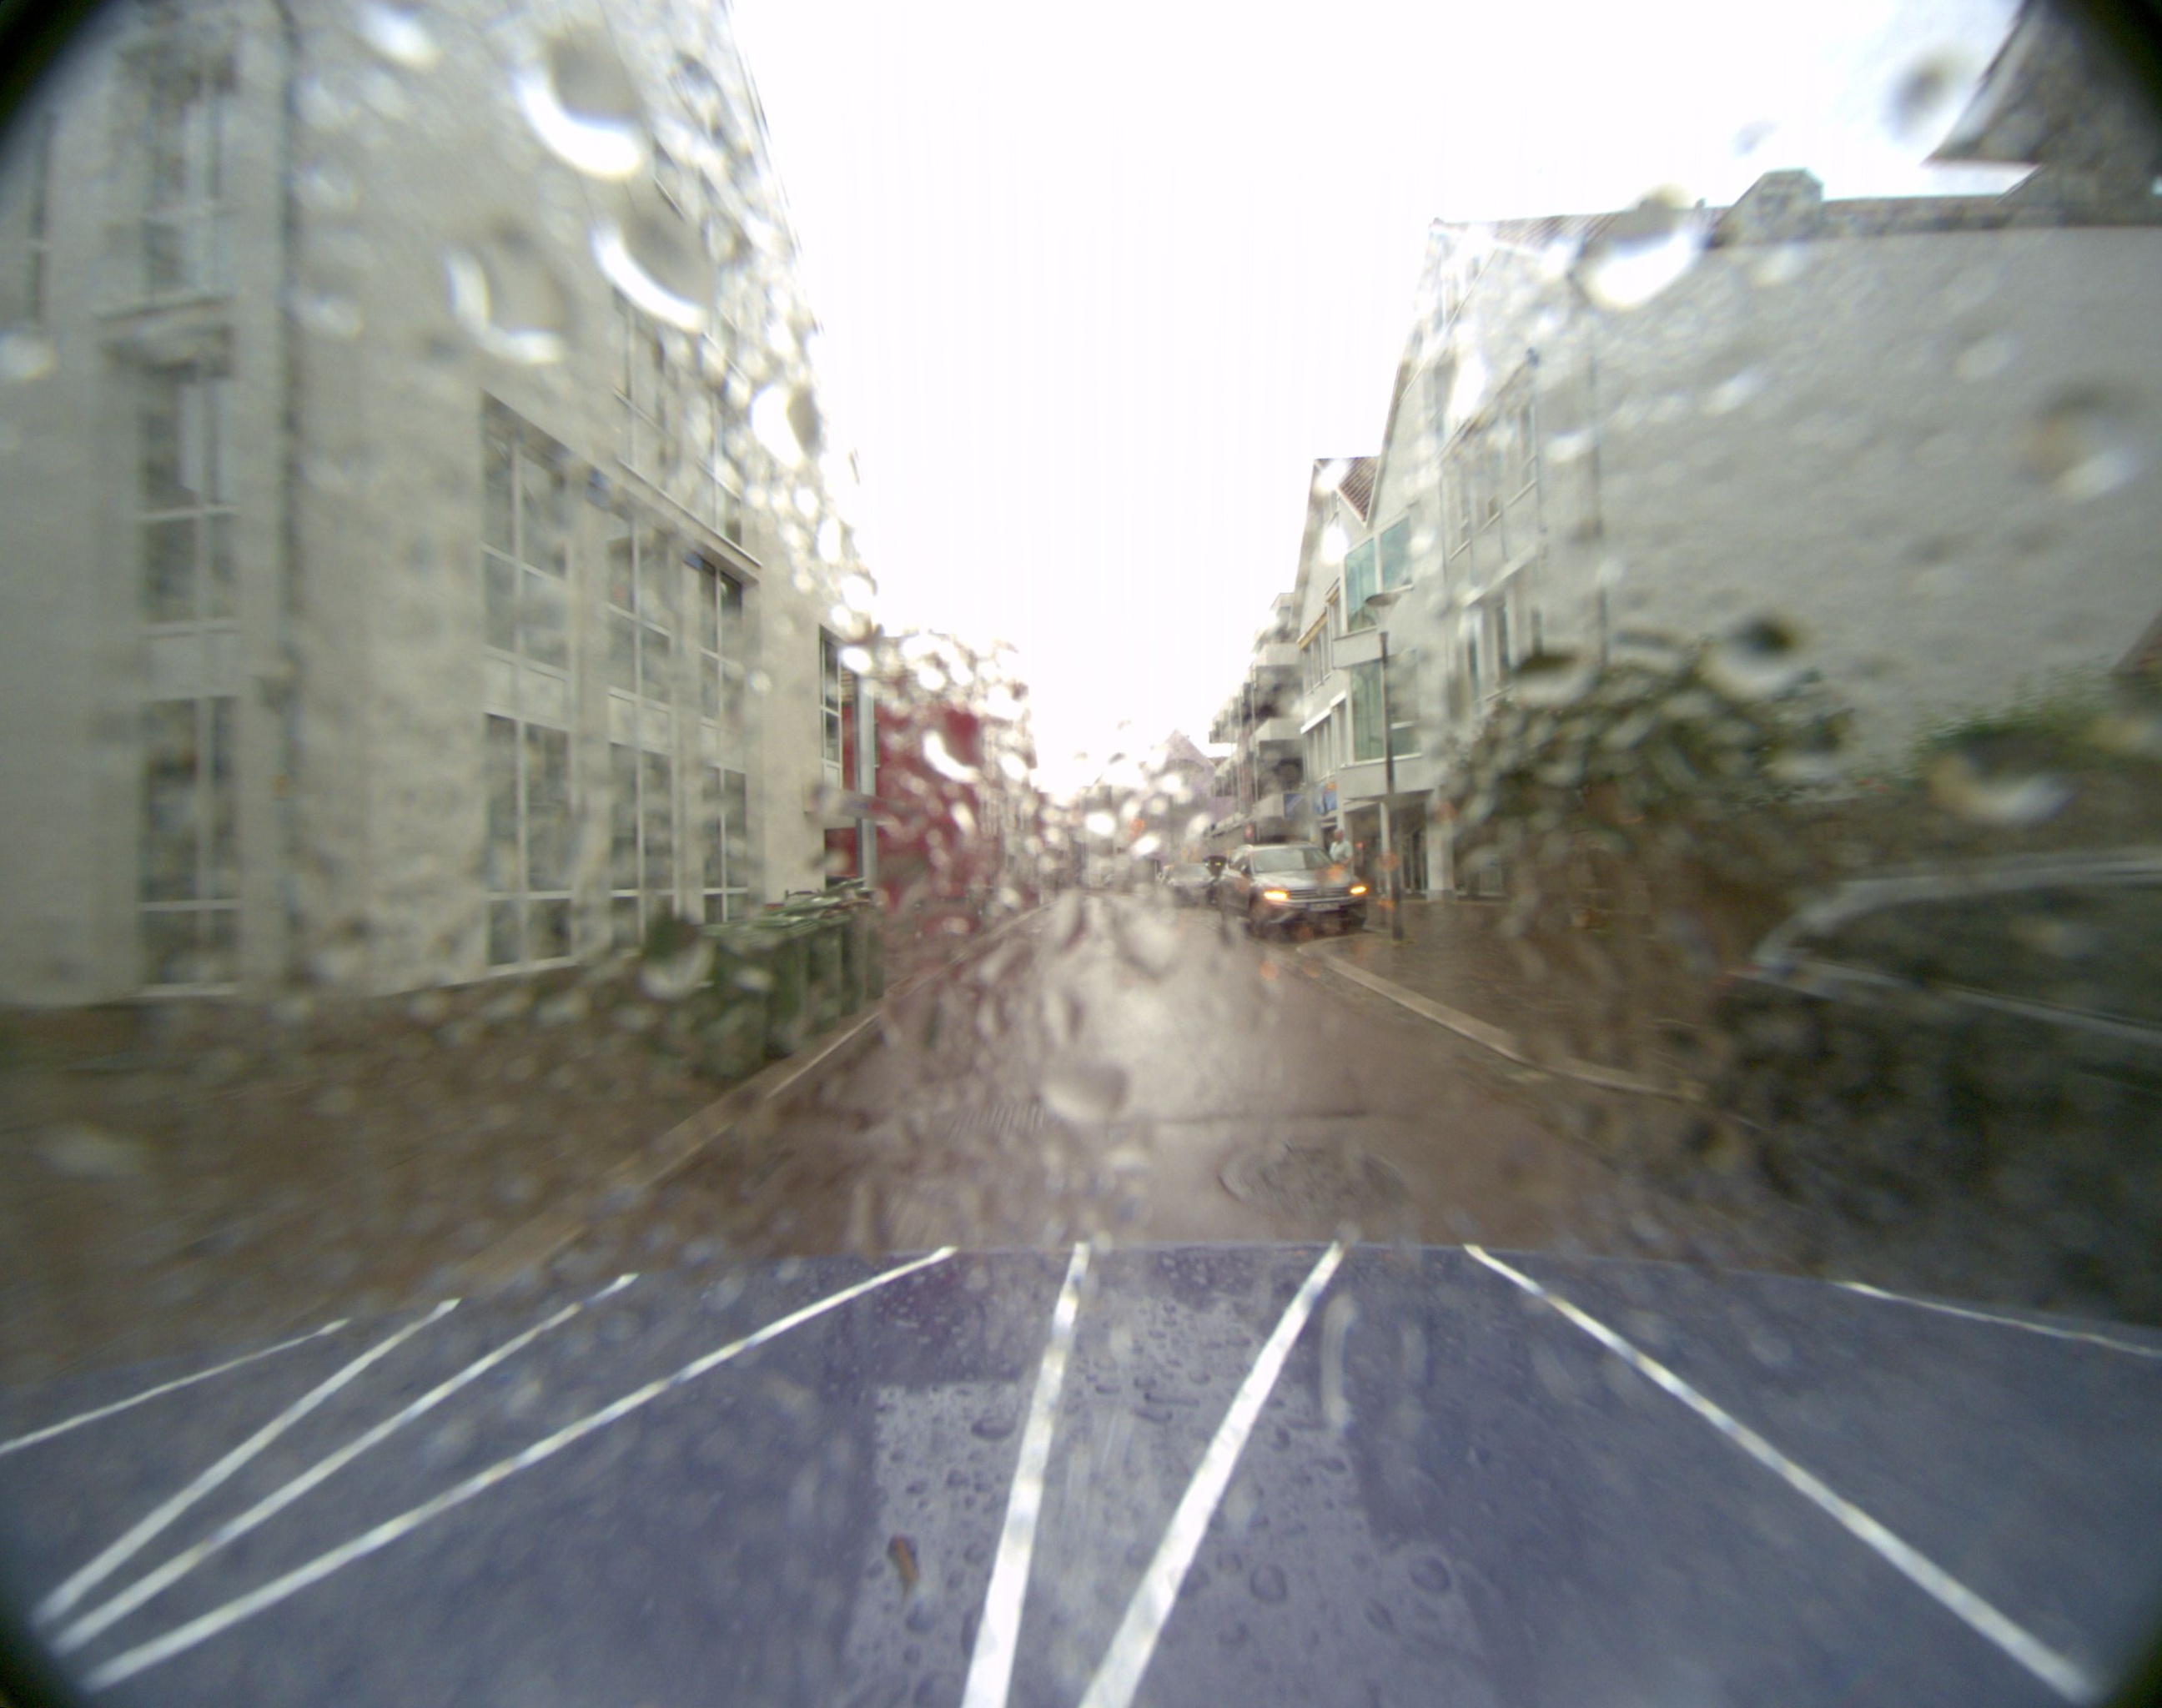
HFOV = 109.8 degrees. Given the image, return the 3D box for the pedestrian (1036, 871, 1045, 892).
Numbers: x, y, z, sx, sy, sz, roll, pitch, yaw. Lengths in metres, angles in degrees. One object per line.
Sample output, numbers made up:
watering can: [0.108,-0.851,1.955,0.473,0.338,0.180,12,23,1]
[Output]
pedestrian: [-3.814,2.579,71.551,0.656,1.891,0.658,0,-1,-25]

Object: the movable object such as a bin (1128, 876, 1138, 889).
movable object such as a bin: [4.355,2.423,64.012,0.688,1.067,0.669,-2,-1,-8]

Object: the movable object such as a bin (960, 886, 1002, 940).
movable object such as a bin: [-2.288,1.338,17.405,0.806,1.124,0.862,-2,1,0]

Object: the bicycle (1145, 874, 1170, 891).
bicycle: [5.708,2.086,56.465,1.753,1.157,0.443,-2,1,-18]

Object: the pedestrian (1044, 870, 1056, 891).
pedestrian: [-2.935,2.509,71.512,0.775,1.893,0.804,-3,1,-25]

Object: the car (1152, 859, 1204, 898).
car: [4.266,1.123,34.062,1.796,1.541,4.002,-3,-2,1]

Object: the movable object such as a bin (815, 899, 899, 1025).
movable object such as a bin: [-2.466,1.175,8.421,0.639,1.283,0.632,-2,1,6]

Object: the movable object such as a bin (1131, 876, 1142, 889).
movable object such as a bin: [4.524,2.333,62.015,0.688,1.070,0.669,-2,-1,-8]

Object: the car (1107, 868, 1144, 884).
car: [5.014,2.487,85.609,3.993,1.574,1.834,-2,0,8]

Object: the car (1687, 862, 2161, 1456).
car: [3.500,0.760,1.342,1.685,1.381,3.824,-2,0,-2]

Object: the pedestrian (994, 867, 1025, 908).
pedestrian: [-3.009,1.399,32.140,1.180,1.687,1.177,-1,-1,-2]

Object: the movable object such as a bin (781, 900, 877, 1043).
movable object such as a bin: [-2.455,1.128,7.452,0.639,1.283,0.632,-2,1,6]

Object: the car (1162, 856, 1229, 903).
car: [3.972,0.876,27.146,1.835,1.489,4.765,-1,-1,2]

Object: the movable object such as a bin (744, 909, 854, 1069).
movable object such as a bin: [-2.463,1.159,6.692,0.639,1.283,0.632,-2,1,6]

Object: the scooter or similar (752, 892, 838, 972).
scooter or similar: [-4.644,1.243,12.435,0.666,1.139,1.447,-2,0,8]

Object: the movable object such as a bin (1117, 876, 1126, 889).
movable object such as a bin: [3.677,2.573,68.751,0.688,1.071,0.677,-2,-1,-8]

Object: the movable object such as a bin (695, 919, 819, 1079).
movable object such as a bin: [-2.526,1.111,5.977,0.617,1.125,0.632,-2,1,6]

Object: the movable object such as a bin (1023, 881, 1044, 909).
movable object such as a bin: [-1.937,1.672,30.997,0.731,1.075,0.647,-2,0,3]

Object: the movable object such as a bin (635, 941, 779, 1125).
movable object such as a bin: [-2.584,1.215,5.310,0.617,1.125,0.632,-2,1,4]

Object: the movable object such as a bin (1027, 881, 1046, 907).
movable object such as a bin: [-1.891,1.693,32.386,0.678,1.077,0.698,-2,0,3]

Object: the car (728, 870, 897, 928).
car: [-7.392,1.216,21.095,3.993,1.505,1.914,-1,-1,12]

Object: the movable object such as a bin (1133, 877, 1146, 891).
movable object such as a bin: [4.289,2.183,55.724,0.689,1.014,0.631,-2,-1,-16]

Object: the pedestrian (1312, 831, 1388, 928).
pedestrian: [5.300,0.501,15.046,1.037,1.795,1.116,-3,-1,1]

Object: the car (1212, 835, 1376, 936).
car: [3.827,0.508,14.484,1.784,1.559,4.407,-2,0,-1]

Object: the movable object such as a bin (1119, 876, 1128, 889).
movable object such as a bin: [3.788,2.546,67.930,0.688,1.080,0.712,-2,-1,-8]
